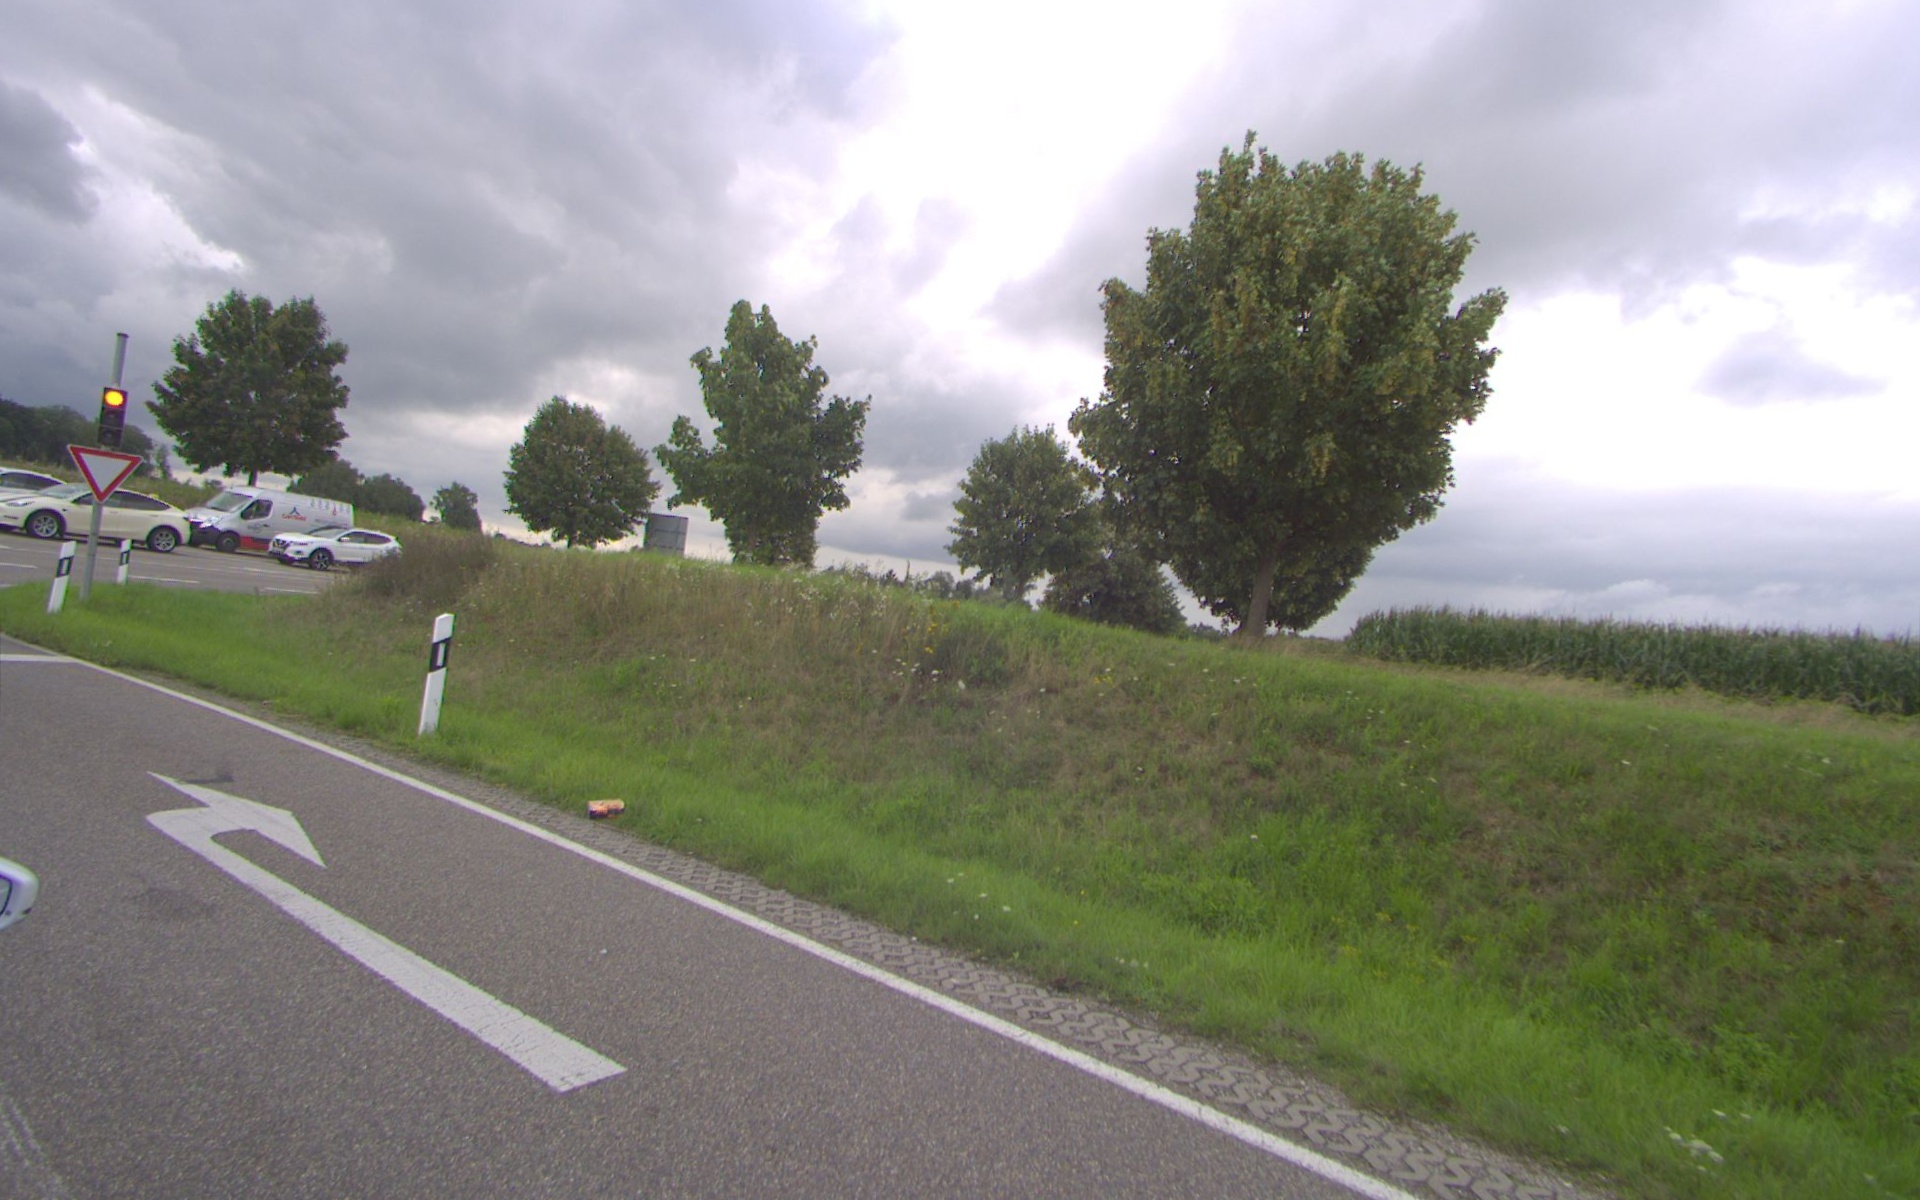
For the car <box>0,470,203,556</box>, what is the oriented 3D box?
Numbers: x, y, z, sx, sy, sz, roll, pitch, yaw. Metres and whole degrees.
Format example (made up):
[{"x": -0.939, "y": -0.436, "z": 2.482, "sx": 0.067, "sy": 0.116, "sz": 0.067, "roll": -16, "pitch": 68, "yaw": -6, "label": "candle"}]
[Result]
[{"x": -24.137, "y": -2.393, "z": 27.783, "sx": 1.963, "sy": 1.582, "sz": 4.752, "roll": 8, "pitch": -2, "yaw": 20, "label": "car"}]

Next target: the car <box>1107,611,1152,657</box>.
[{"x": 8.885, "y": 1.827, "z": 52.482, "sx": 1.962, "sy": 2.037, "sz": 4.005, "roll": 7, "pitch": -2, "yaw": 12, "label": "car"}]

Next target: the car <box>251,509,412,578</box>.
[{"x": -21.789, "y": -1.923, "z": 35.086, "sx": 1.963, "sy": 1.648, "sz": 4.326, "roll": 8, "pitch": -2, "yaw": 20, "label": "car"}]

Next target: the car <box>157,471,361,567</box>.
[{"x": -25.349, "y": -2.853, "z": 36.690, "sx": 2.354, "sy": 2.470, "sz": 5.517, "roll": 8, "pitch": -2, "yaw": 20, "label": "car"}]

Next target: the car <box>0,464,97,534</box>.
[{"x": -27.823, "y": -3.099, "z": 28.736, "sx": 1.963, "sy": 1.647, "sz": 4.278, "roll": 8, "pitch": -2, "yaw": 19, "label": "car"}]
